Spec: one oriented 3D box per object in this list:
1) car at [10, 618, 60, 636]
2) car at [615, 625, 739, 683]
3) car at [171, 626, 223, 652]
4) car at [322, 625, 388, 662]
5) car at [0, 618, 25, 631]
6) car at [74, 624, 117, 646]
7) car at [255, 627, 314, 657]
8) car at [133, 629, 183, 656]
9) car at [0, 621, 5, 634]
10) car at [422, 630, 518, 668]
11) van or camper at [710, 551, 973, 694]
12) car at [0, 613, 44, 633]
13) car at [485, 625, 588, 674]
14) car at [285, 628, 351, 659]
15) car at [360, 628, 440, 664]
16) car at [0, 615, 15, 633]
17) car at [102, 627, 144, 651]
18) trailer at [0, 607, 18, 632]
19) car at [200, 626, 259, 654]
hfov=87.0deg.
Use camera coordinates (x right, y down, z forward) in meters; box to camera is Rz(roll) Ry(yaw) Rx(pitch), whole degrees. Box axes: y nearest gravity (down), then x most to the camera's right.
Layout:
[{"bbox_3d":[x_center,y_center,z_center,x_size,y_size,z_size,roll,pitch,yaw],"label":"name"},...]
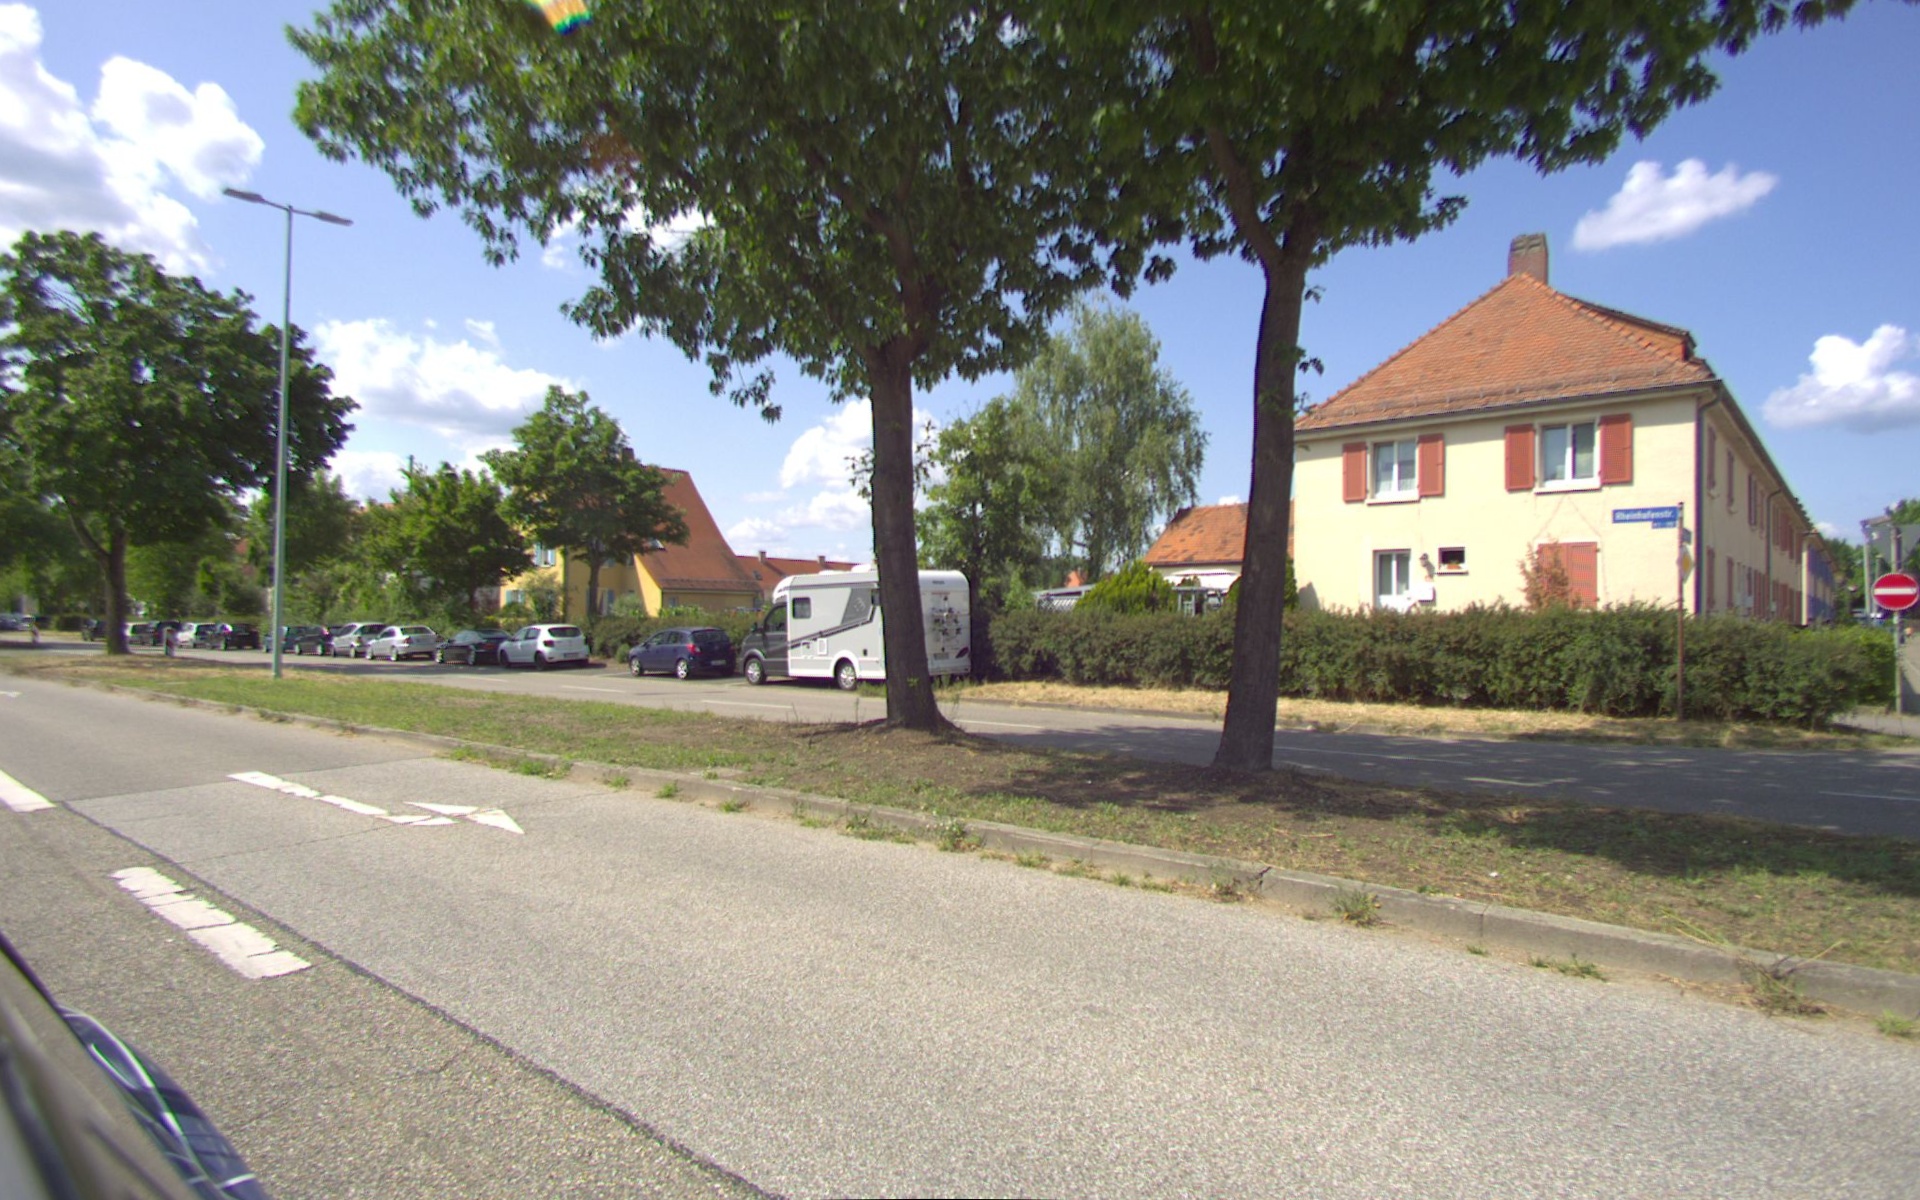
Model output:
[{"bbox_3d":[-97.667,2.852,106.929,1.778,1.874,4.004,-1,-1,-4],"label":"car"},{"bbox_3d":[-8.423,1.537,29.983,3.990,1.497,1.619,0,1,41],"label":"car"},{"bbox_3d":[-47.124,2.369,62.463,3.842,1.462,1.644,0,1,38],"label":"car"},{"bbox_3d":[-27.676,1.937,46.249,3.738,1.569,1.389,-1,0,39],"label":"car"},{"bbox_3d":[-110.213,2.811,116.591,1.549,1.408,4.004,-1,1,-4],"label":"car"},{"bbox_3d":[-66.375,2.681,77.721,3.995,1.563,1.750,0,1,38],"label":"car"},{"bbox_3d":[-35.016,2.159,52.441,3.473,1.405,1.547,0,1,39],"label":"car"},{"bbox_3d":[-53.227,2.767,67.106,4.309,1.624,1.644,0,1,38],"label":"car"},{"bbox_3d":[-116.542,3.325,120.474,1.798,1.521,3.948,0,1,39],"label":"car"},{"bbox_3d":[-18.776,1.835,38.689,4.581,1.316,1.619,-1,0,41],"label":"car"},{"bbox_3d":[-3.193,0.555,25.539,7.317,3.135,2.235,-2,0,42],"label":"van or camper"},{"bbox_3d":[-105.091,2.536,113.219,1.778,2.029,4.004,-1,1,-4],"label":"car"},{"bbox_3d":[-14.872,1.689,35.475,4.122,1.497,1.671,0,1,41],"label":"car"},{"bbox_3d":[-31.198,2.072,49.117,4.352,1.405,1.389,-1,0,39],"label":"car"},{"bbox_3d":[-23.743,1.900,42.824,4.528,1.380,1.495,-1,0,41],"label":"car"},{"bbox_3d":[-112.579,2.817,117.663,1.778,2.029,4.004,-1,1,-4],"label":"car"},{"bbox_3d":[-58.576,2.710,70.816,3.530,1.472,1.578,0,1,38],"label":"car"},{"bbox_3d":[-124.481,2.554,129.810,2.781,3.132,5.768,-1,0,-13],"label":"trailer"},{"bbox_3d":[-41.690,2.258,57.731,4.098,1.492,1.644,-1,0,38],"label":"car"}]
